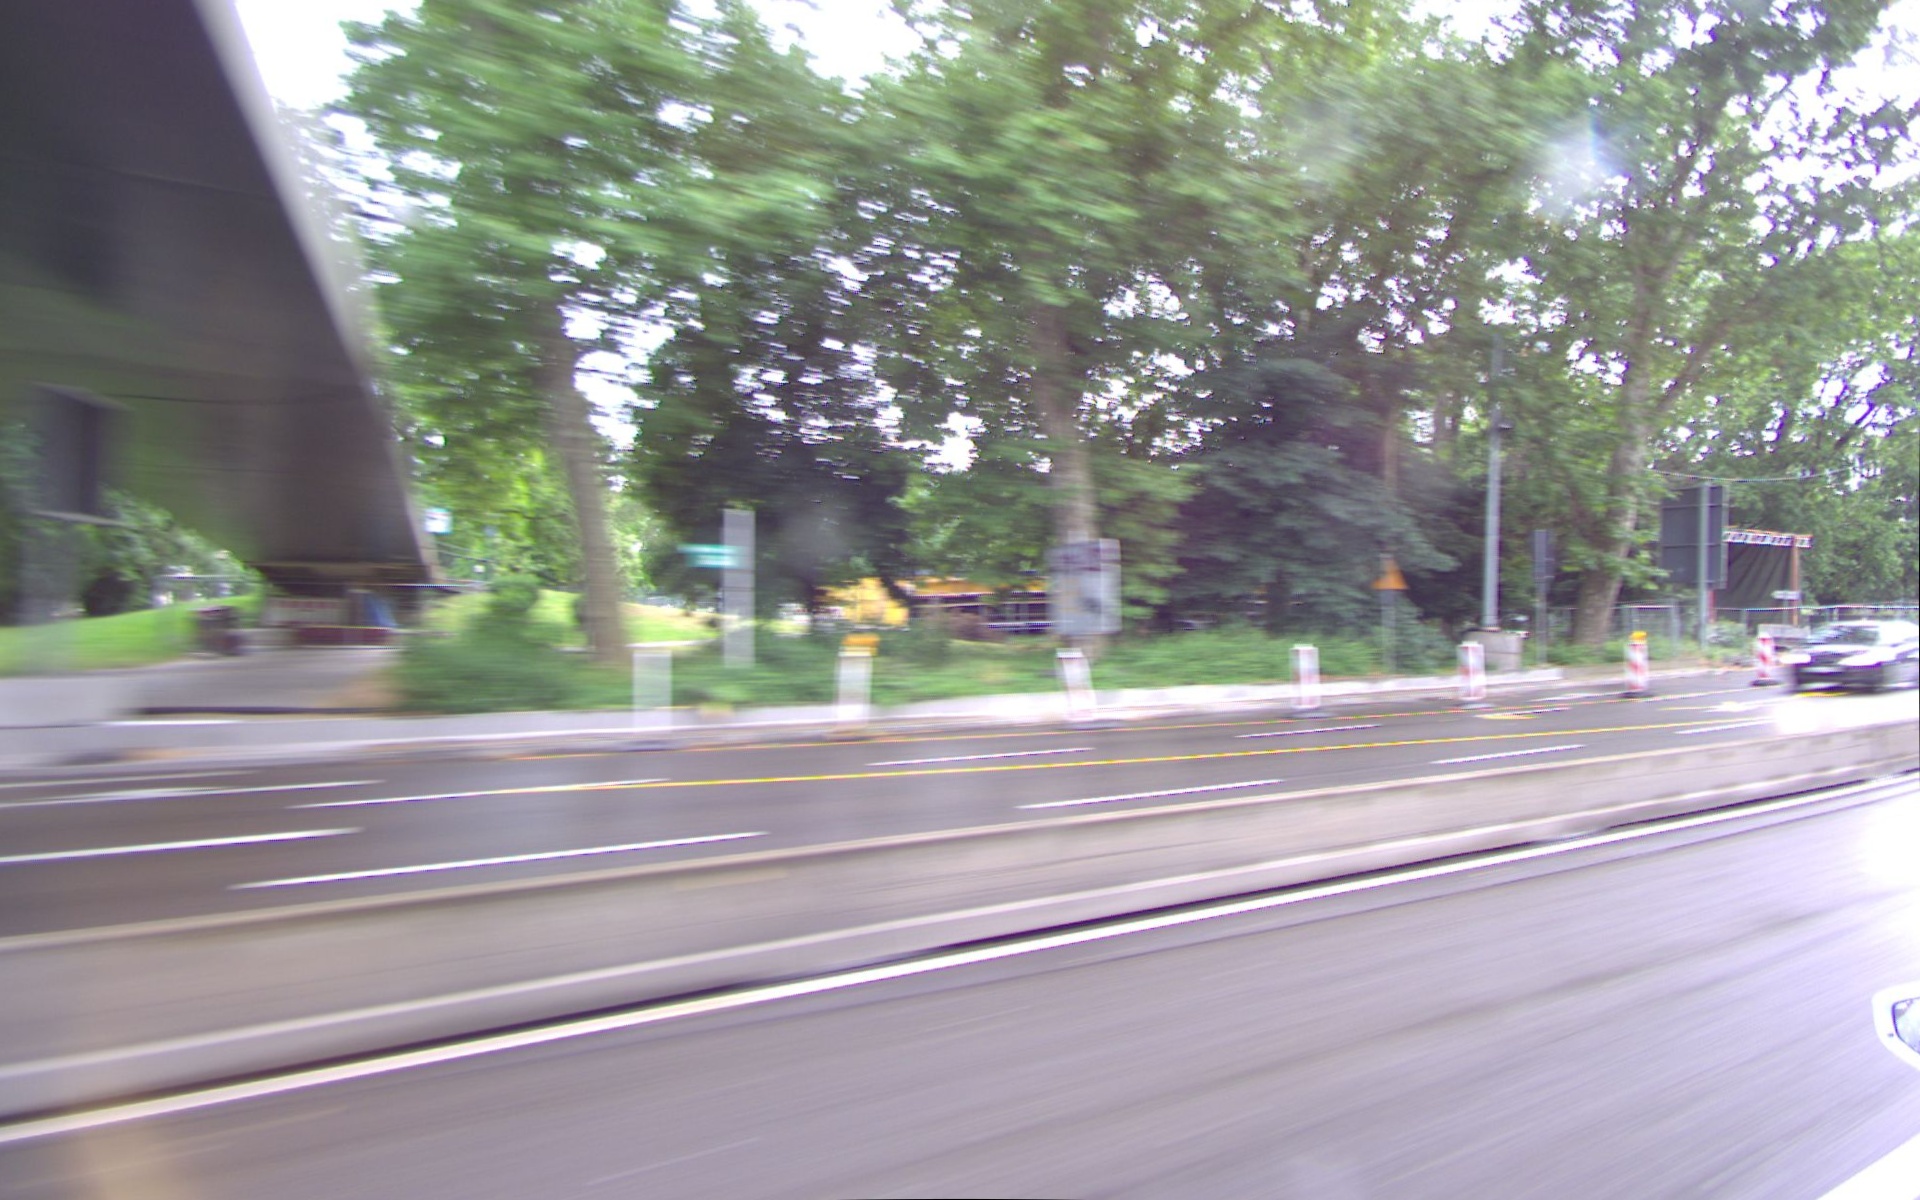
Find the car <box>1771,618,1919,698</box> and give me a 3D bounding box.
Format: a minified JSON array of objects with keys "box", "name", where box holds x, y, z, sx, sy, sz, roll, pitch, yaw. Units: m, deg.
[{"box":[21.434,1.304,23.812,4.266,1.675,2.022,0,-1,-30],"name":"car"}]
